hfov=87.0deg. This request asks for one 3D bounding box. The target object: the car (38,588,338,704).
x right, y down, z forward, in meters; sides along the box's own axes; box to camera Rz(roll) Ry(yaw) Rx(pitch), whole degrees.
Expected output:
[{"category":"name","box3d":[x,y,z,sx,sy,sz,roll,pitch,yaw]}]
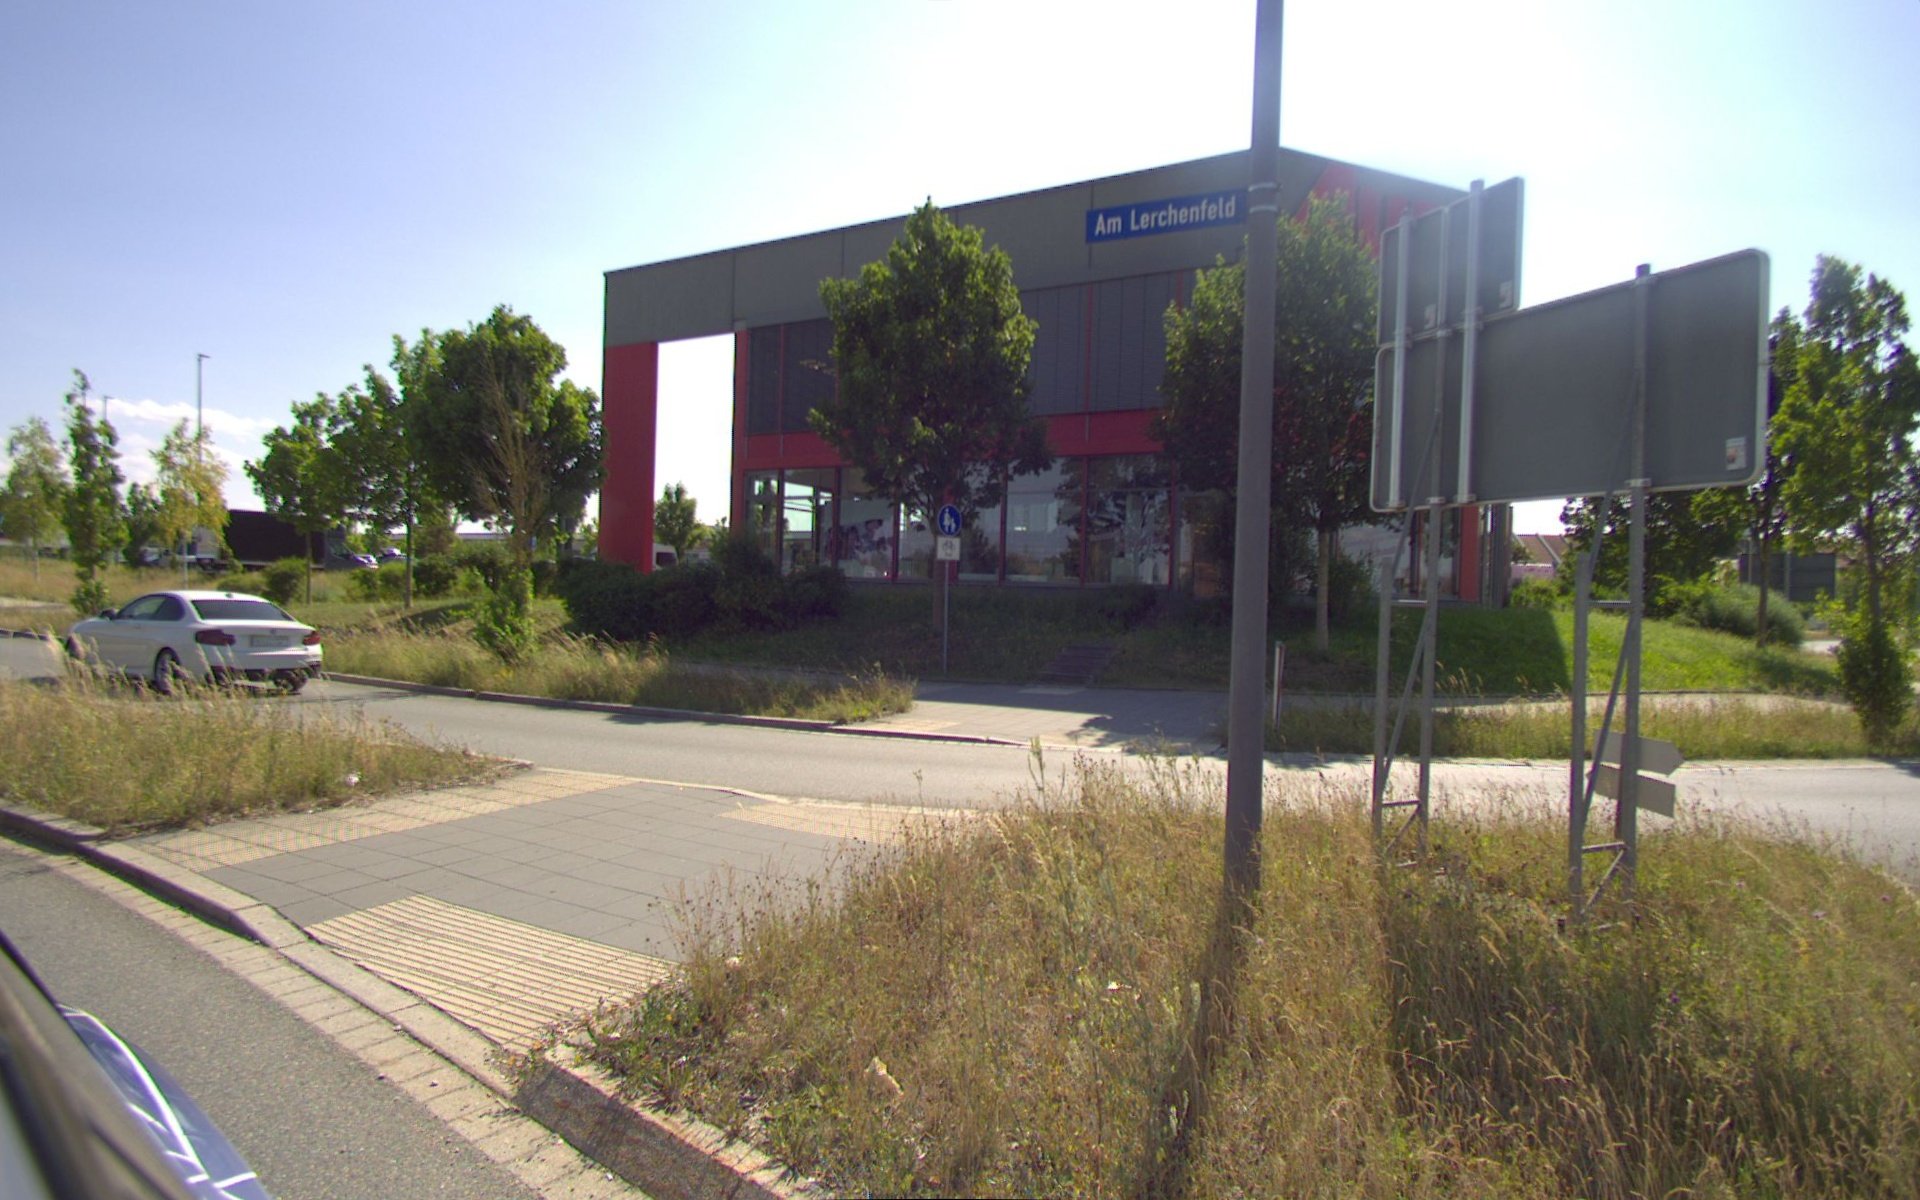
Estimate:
[{"category":"car","box3d":[-11.480,0.618,15.016,4.359,1.426,1.781,2,-1,27]}]
